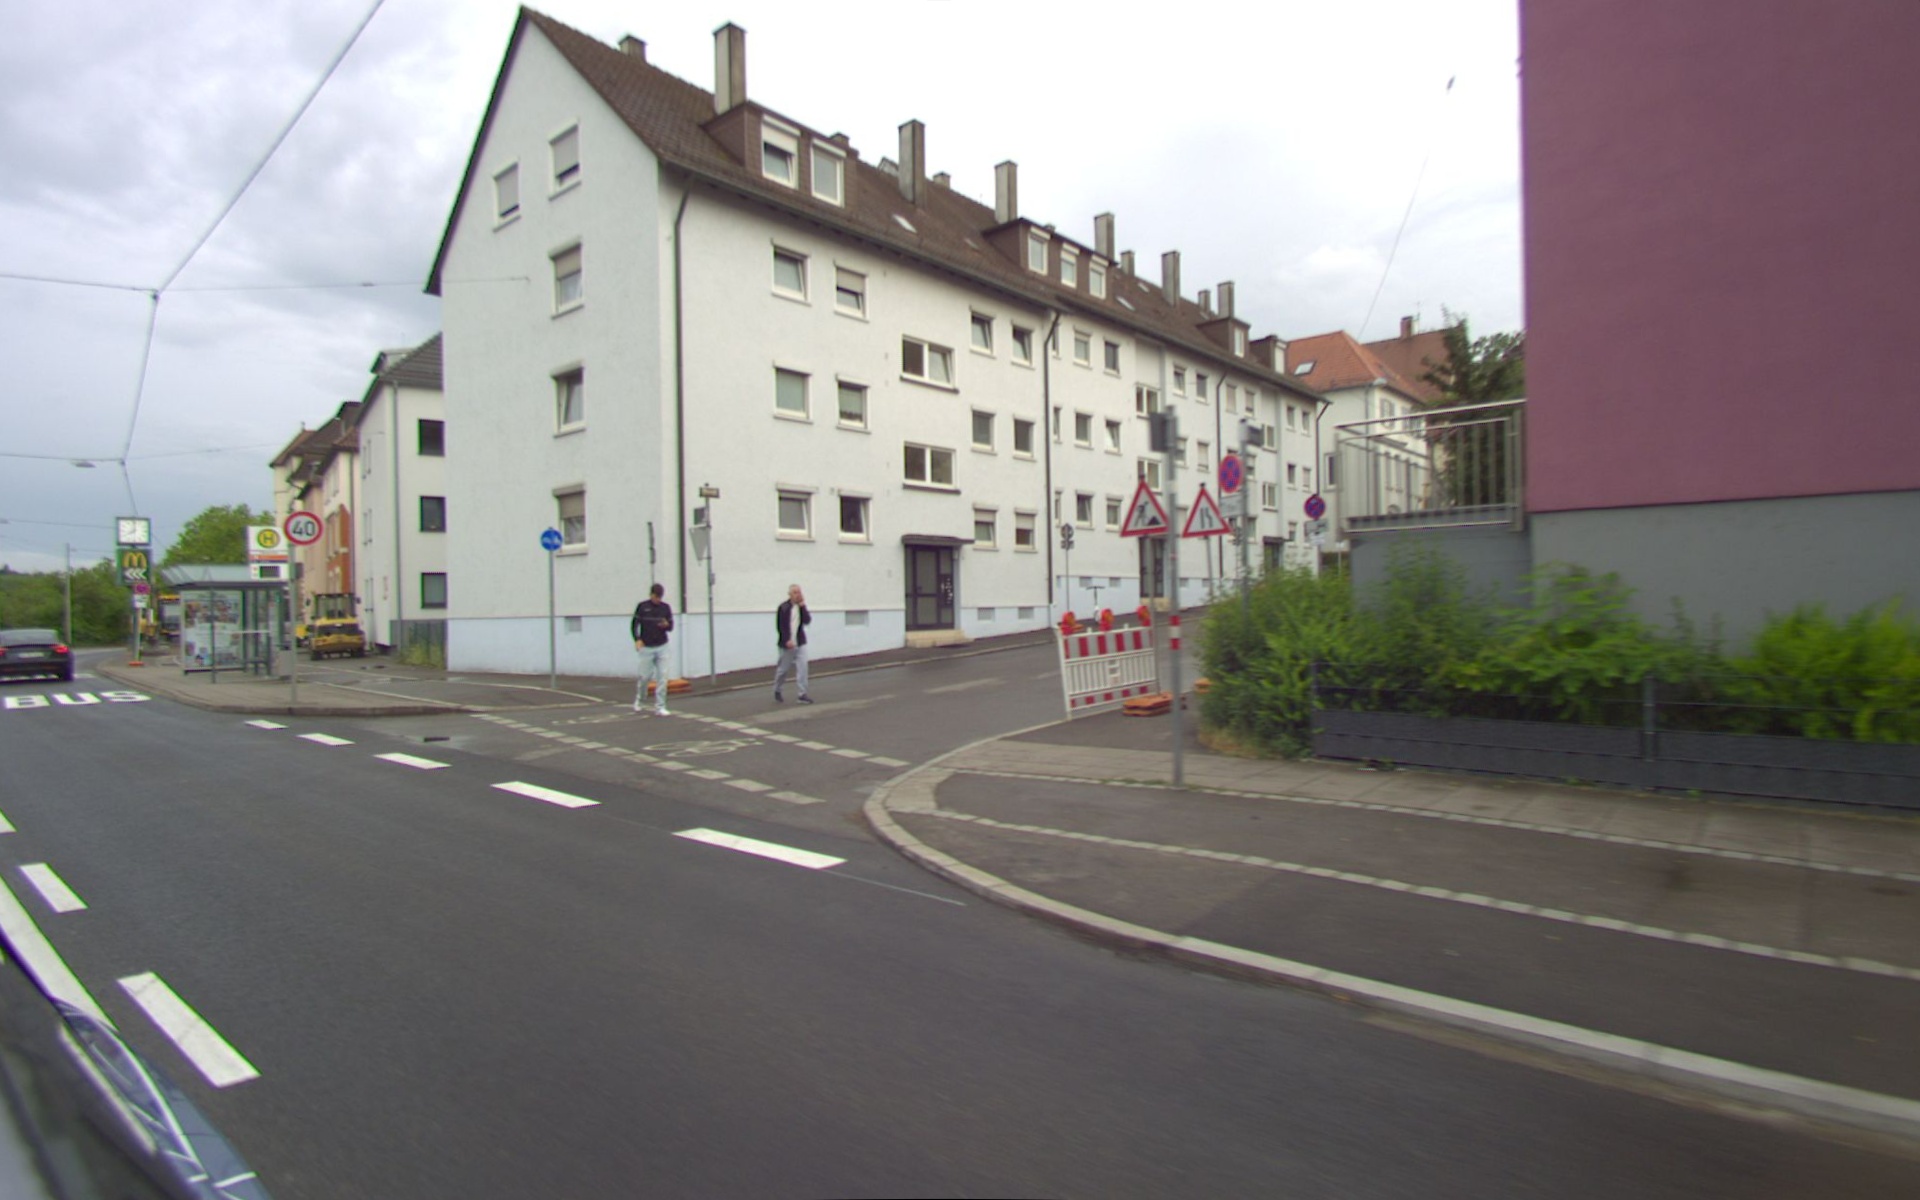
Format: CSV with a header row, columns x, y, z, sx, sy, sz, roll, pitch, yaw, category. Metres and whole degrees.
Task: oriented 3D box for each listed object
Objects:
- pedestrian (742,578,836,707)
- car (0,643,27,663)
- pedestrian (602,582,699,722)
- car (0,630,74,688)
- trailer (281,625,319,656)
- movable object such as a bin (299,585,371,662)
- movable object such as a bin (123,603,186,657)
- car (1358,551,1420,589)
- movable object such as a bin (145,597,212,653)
x,y,z,sx,sy,sz,roll,pitch,yaw,category
-2.563,0.624,15.166,1.115,1.835,0.797,-3,0,41,pedestrian
-66.129,3.655,70.008,1.580,1.312,3.723,-3,-1,-31,car
-4.389,0.713,14.357,1.043,1.897,0.853,-2,-1,40,pedestrian
-25.954,1.595,28.123,1.763,1.463,4.392,-1,-1,-45,car
-32.582,1.981,49.930,1.306,1.409,4.005,-2,0,-36,trailer
-25.193,0.960,40.722,2.101,2.828,4.991,-3,0,-34,movable object such as a bin
-49.138,1.840,61.867,2.787,3.136,4.644,-1,-1,-36,movable object such as a bin
18.682,-1.323,43.990,1.627,1.419,3.359,-3,1,38,car
-57.969,1.889,75.265,2.907,3.873,8.151,-1,-1,-31,movable object such as a bin
